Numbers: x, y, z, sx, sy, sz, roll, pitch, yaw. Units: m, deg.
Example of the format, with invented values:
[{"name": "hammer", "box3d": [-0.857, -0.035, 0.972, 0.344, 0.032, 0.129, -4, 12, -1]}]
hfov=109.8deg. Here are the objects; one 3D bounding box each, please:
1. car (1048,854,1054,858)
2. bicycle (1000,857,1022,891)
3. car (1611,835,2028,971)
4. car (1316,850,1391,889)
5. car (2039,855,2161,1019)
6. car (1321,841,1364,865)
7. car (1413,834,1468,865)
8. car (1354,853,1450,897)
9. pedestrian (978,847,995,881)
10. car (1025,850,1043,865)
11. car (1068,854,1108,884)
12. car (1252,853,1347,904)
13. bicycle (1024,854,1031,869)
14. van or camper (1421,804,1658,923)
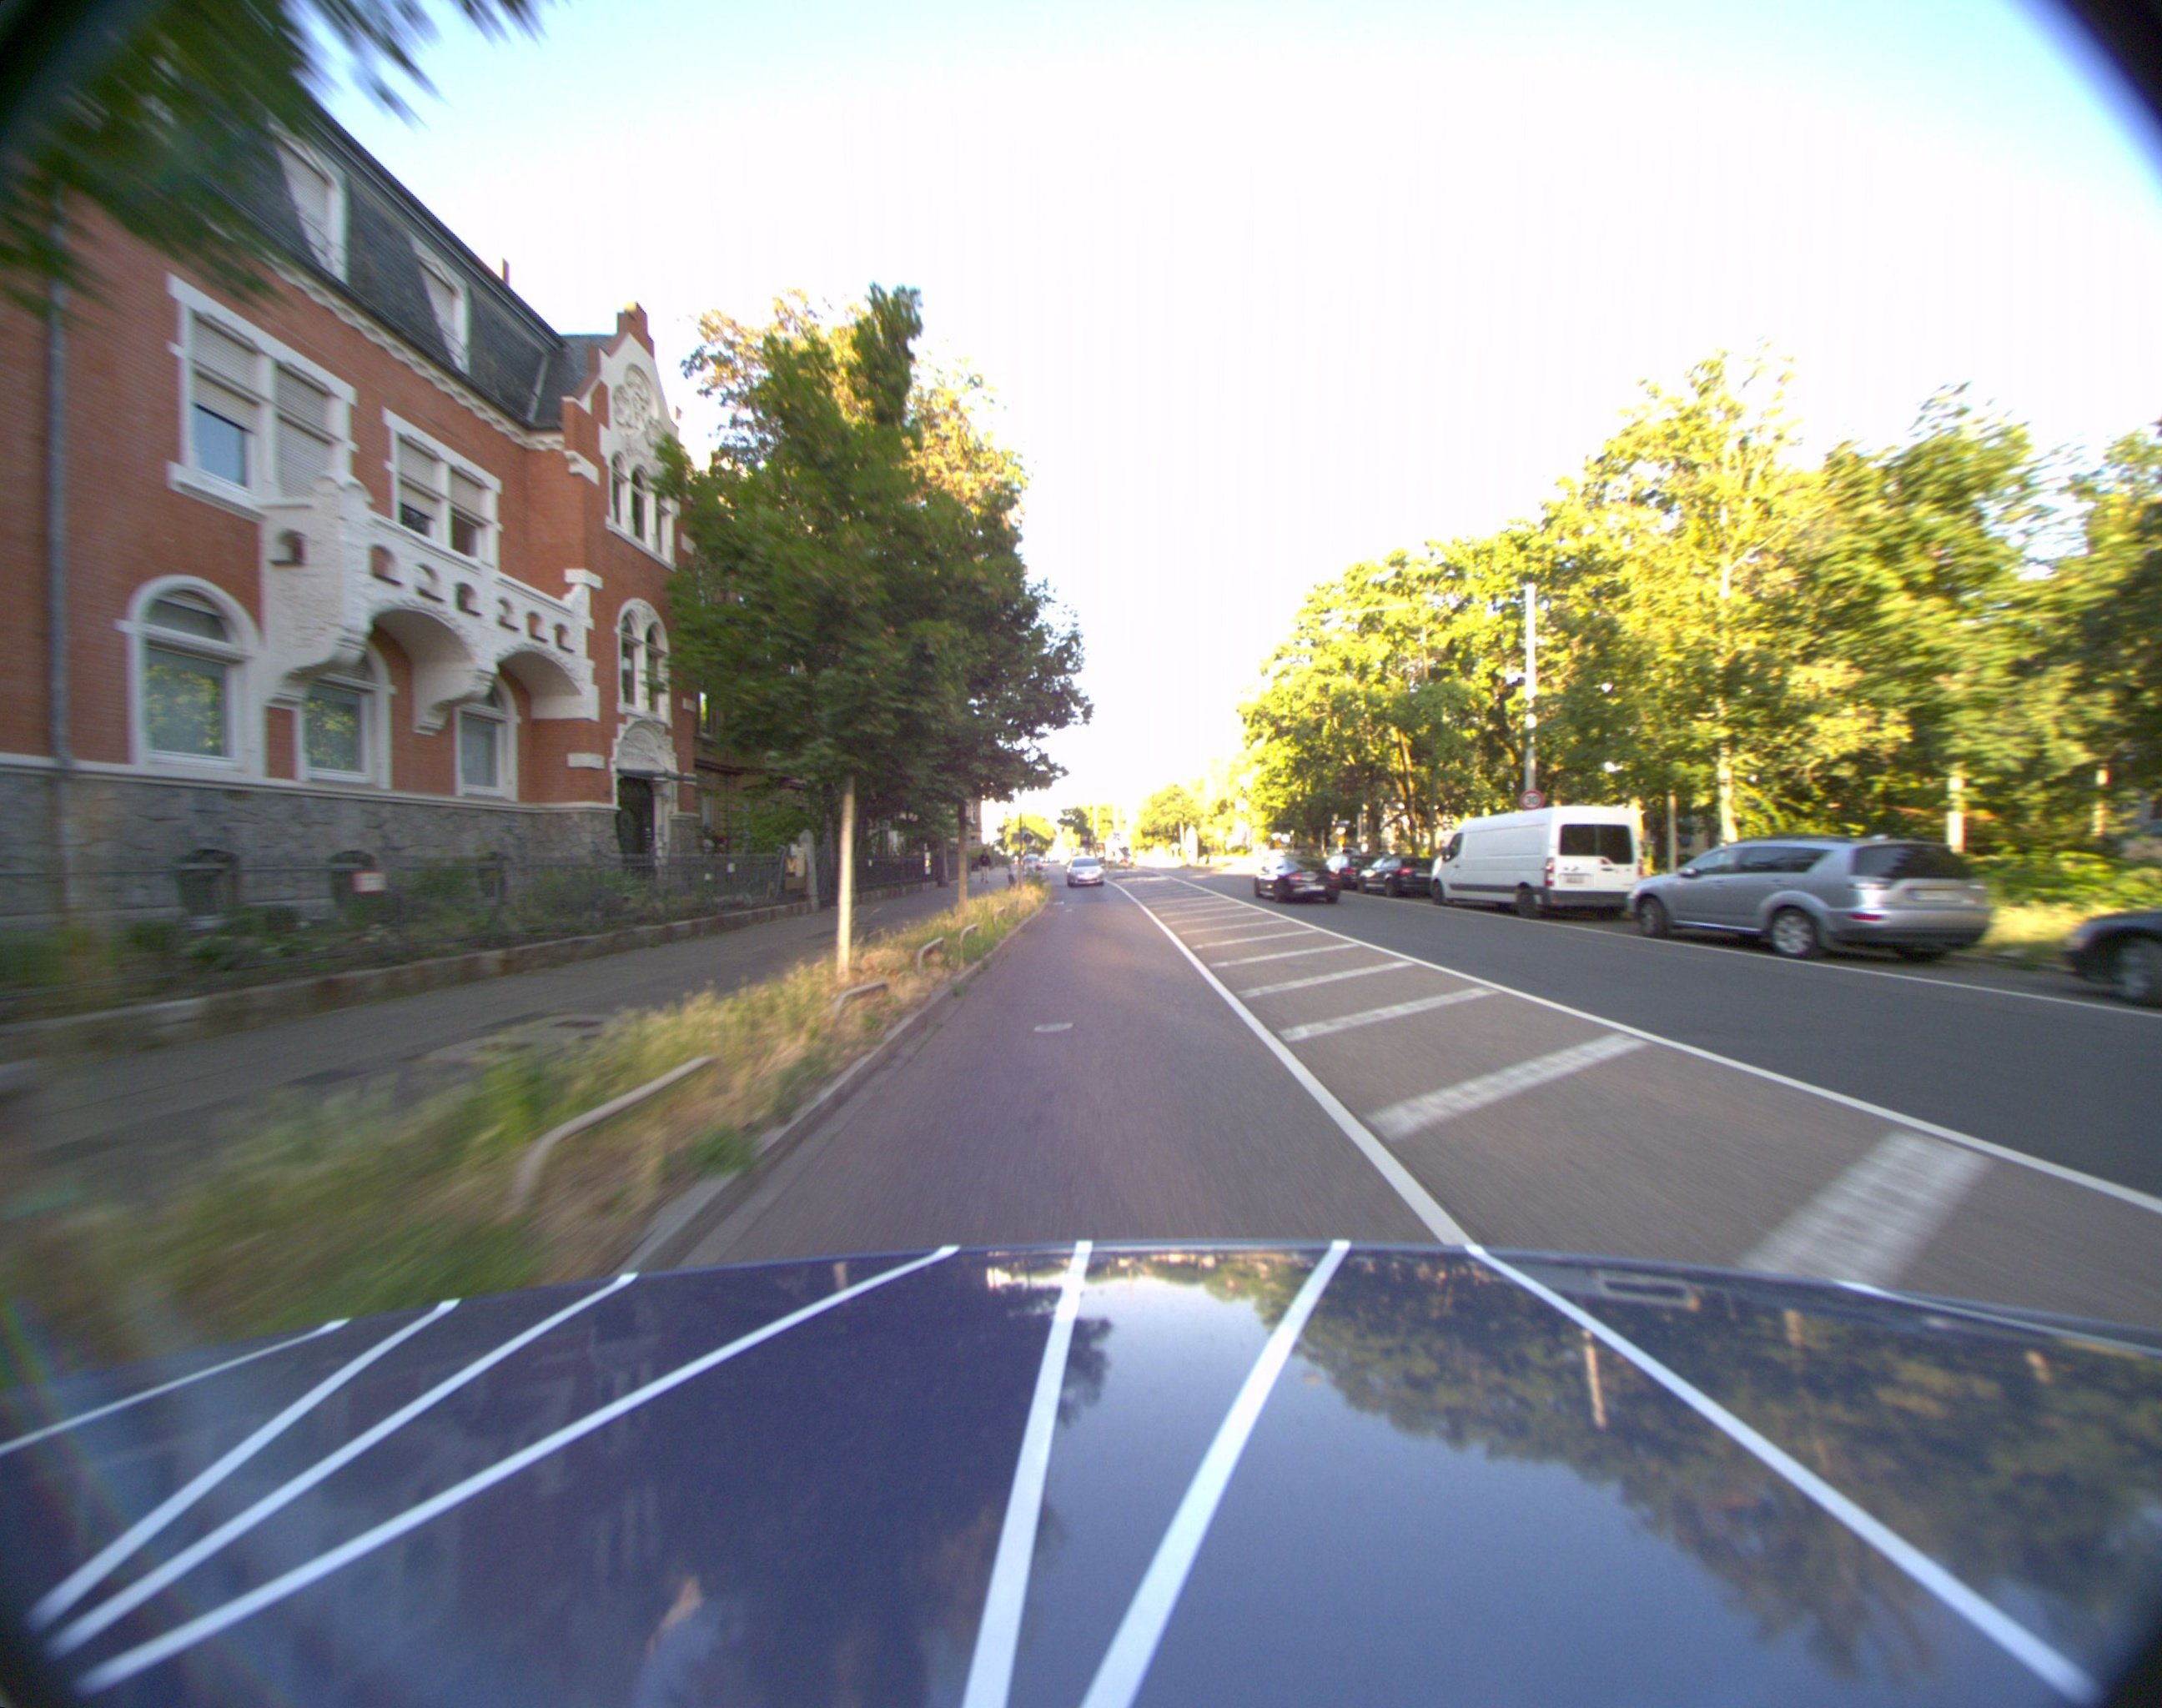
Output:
[{"name": "car", "box3d": [-9.662, 0.543, 243.608, 1.948, 1.259, 4.161, 0, 0, -5]}, {"name": "bicycle", "box3d": [-2.551, 0.732, 27.986, 0.648, 1.160, 1.930, -3, 1, -2]}, {"name": "car", "box3d": [10.508, 0.575, 11.462, 1.870, 1.635, 4.571, 0, 0, 1]}, {"name": "car", "box3d": [11.319, 0.593, 31.867, 1.627, 1.498, 4.544, -1, 1, 2]}, {"name": "car", "box3d": [10.473, 0.745, 5.323, 1.740, 1.437, 4.625, -1, 0, 1]}, {"name": "car", "box3d": [20.907, -0.066, 60.933, 1.823, 1.785, 3.999, -2, 0, -3]}, {"name": "car", "box3d": [28.391, -0.358, 60.227, 2.220, 2.275, 5.099, -2, 0, 4]}, {"name": "car", "box3d": [11.185, 0.684, 26.768, 1.632, 1.421, 4.242, 0, 0, 1]}, {"name": "pedestrian", "box3d": [-4.924, 0.511, 39.580, 0.747, 1.768, 0.831, 2, 1, -3]}, {"name": "car", "box3d": [-4.952, 0.344, 79.821, 1.731, 1.456, 3.546, 2, 0, -2]}, {"name": "car", "box3d": [0.303, 0.739, 39.444, 1.895, 1.455, 3.965, 0, 0, -2]}, {"name": "car", "box3d": [6.687, 0.691, 23.728, 1.770, 1.394, 4.545, -1, 0, 2]}, {"name": "bicycle", "box3d": [-4.892, 0.642, 69.795, 0.567, 1.268, 2.263, 3, 2, -3]}, {"name": "van or camper", "box3d": [10.873, 0.190, 18.831, 2.096, 2.454, 6.305, 0, 0, 1]}]
